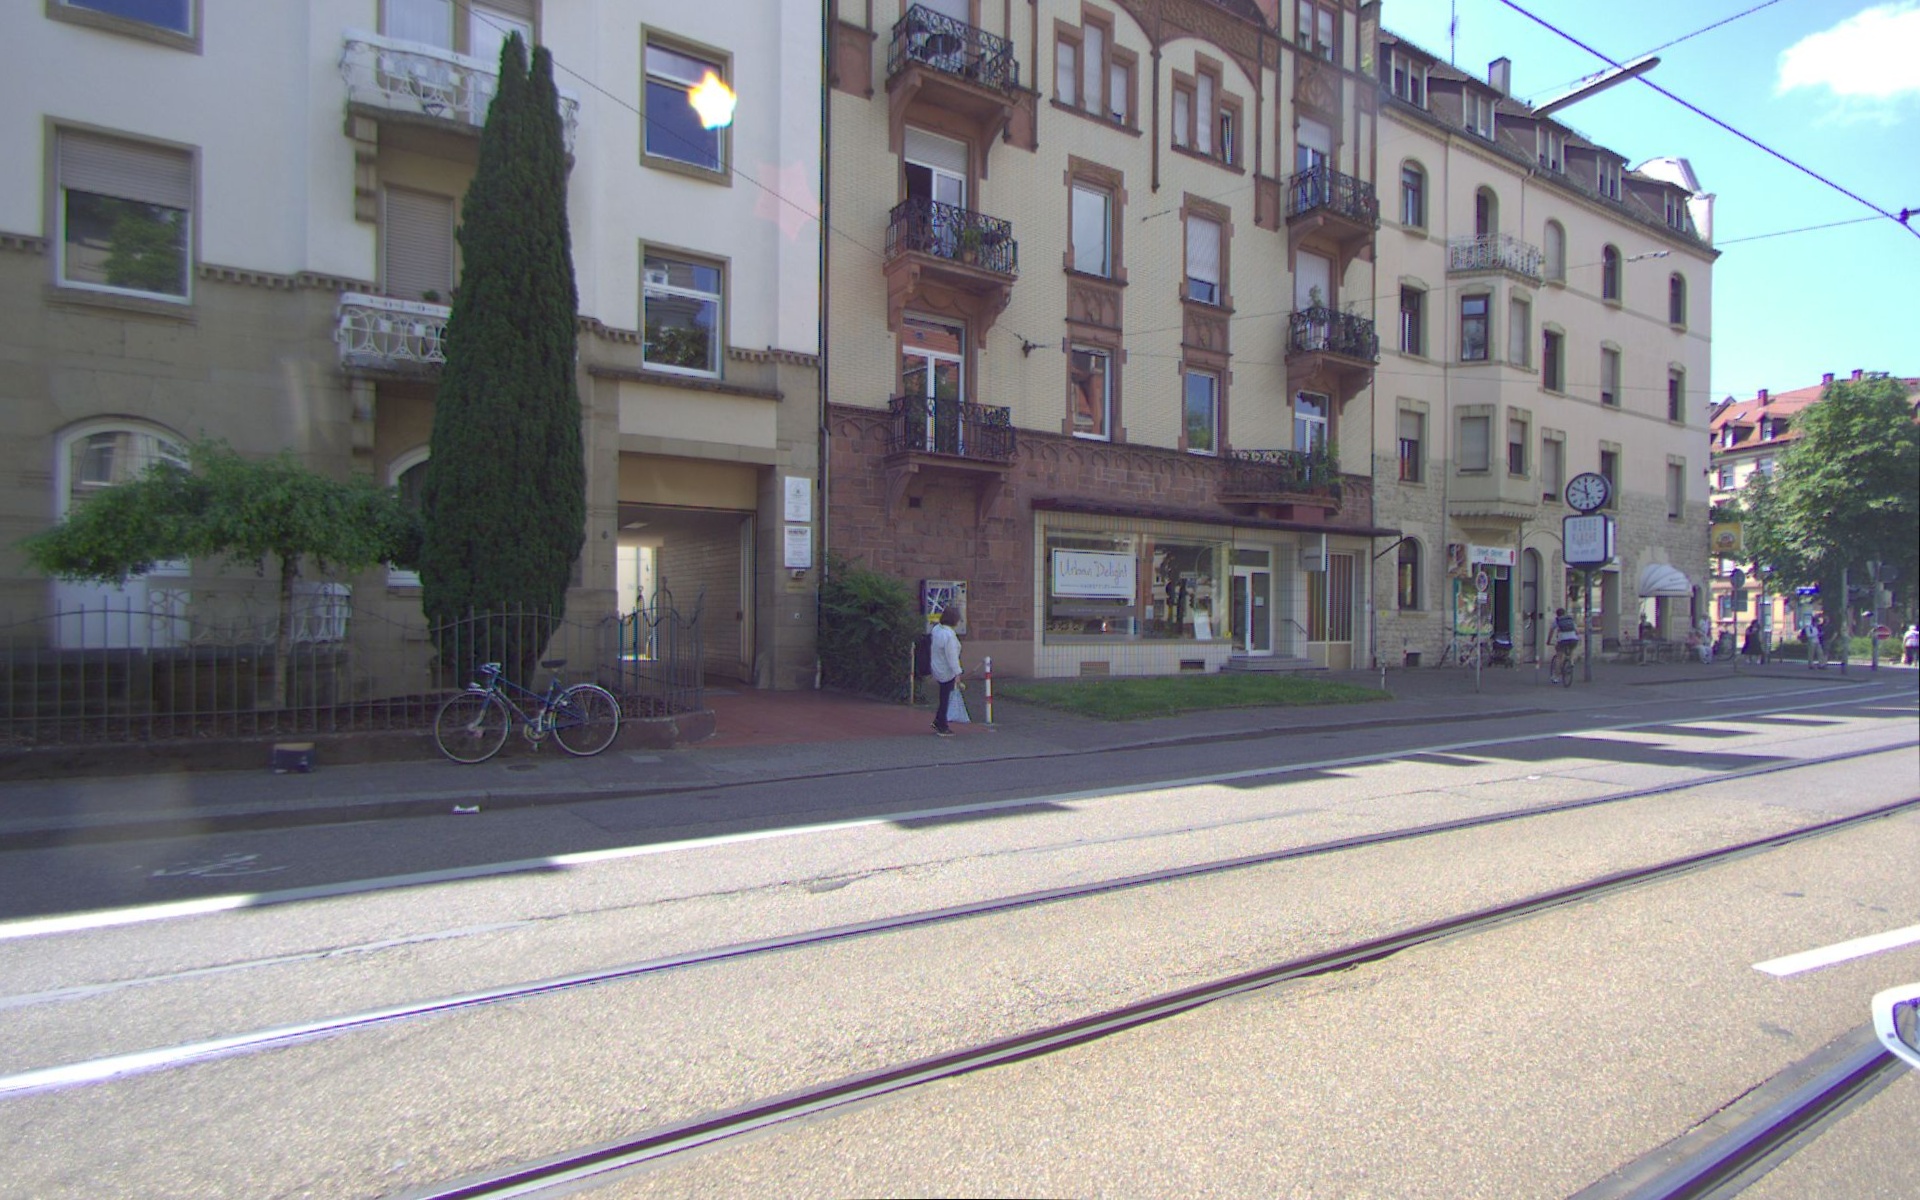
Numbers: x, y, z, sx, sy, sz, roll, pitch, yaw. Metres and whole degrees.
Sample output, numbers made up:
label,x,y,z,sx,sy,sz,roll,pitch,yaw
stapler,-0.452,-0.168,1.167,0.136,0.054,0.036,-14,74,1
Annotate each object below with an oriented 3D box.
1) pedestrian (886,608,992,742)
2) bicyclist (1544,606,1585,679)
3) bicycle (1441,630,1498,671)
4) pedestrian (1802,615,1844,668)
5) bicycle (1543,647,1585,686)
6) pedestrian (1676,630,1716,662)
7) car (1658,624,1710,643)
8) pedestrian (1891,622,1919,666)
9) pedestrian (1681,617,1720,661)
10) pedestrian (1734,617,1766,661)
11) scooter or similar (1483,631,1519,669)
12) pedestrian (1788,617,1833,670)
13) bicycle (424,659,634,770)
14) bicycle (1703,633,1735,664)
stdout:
label,x,y,z,sx,sy,sz,roll,pitch,yaw
pedestrian,-0.263,0.884,12.387,0.975,1.563,0.894,1,-1,-36
bicyclist,14.451,0.993,24.043,0.744,1.685,0.830,2,0,28
bicycle,14.245,1.410,28.090,1.438,1.080,0.370,2,0,-9
pedestrian,32.081,1.524,37.326,1.152,1.916,0.895,1,-1,-33
bicycle,14.445,1.574,24.052,0.741,0.828,1.818,0,-1,27
pedestrian,26.522,1.649,36.193,0.873,1.092,0.911,1,-1,-31
car,61.372,2.811,85.192,1.653,1.491,3.467,1,-1,-7
pedestrian,38.753,1.786,41.059,0.904,1.746,0.837,0,-1,36
pedestrian,27.700,1.446,37.583,0.799,1.616,0.913,1,-1,-27
pedestrian,30.164,1.477,38.352,0.848,1.657,1.024,0,-1,32
scooter or similar,15.795,1.446,29.334,0.682,1.058,1.210,2,0,17
pedestrian,29.046,1.460,34.311,0.761,1.756,0.862,1,1,-7
bicycle,-4.189,1.087,9.838,1.821,0.973,0.408,2,2,-33
bicycle,29.134,1.872,38.586,0.534,1.143,1.683,1,-3,21
